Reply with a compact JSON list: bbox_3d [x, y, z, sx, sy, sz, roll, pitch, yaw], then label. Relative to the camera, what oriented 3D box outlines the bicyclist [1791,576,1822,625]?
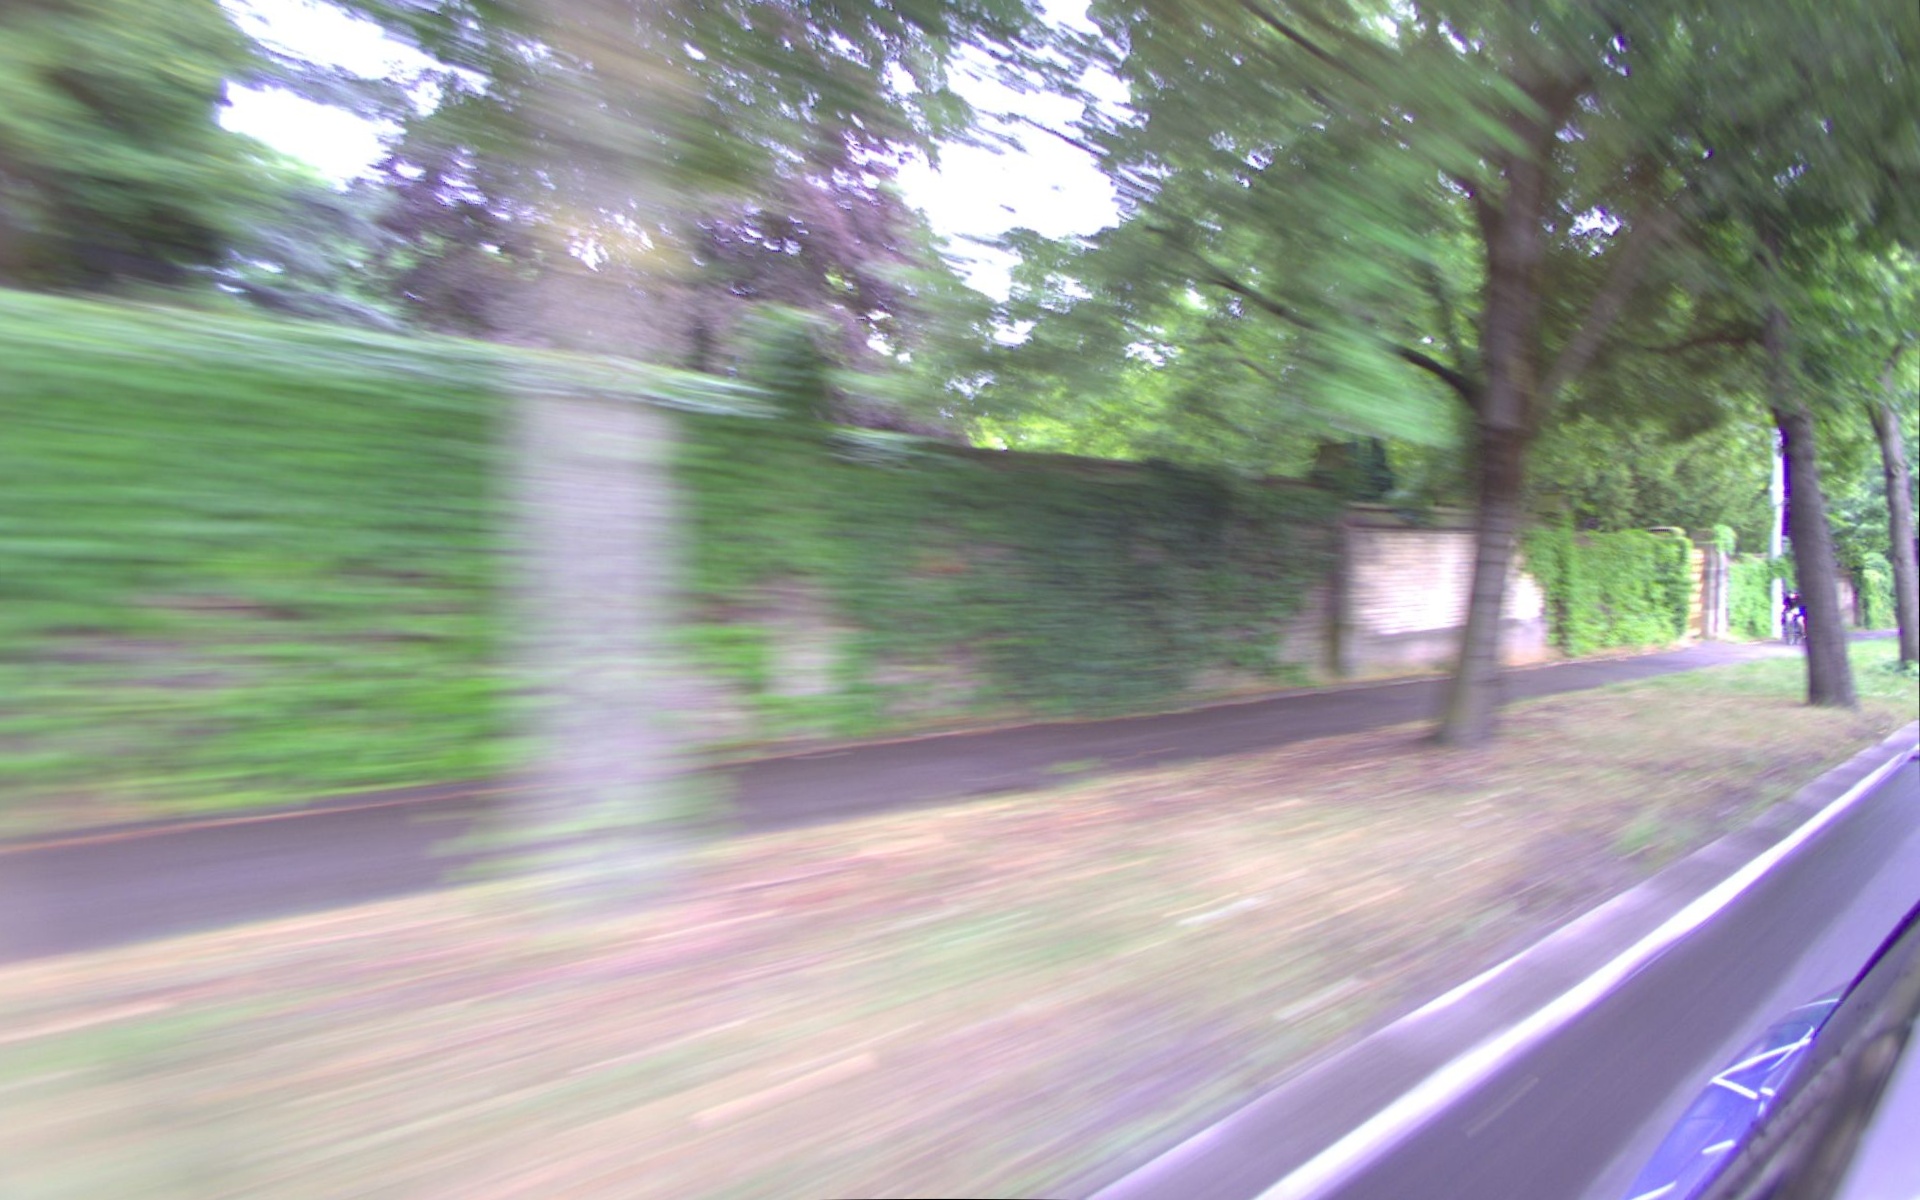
[{"bbox_3d":[24.664,0.004,29.473,0.654,1.406,0.536,0,2,-38],"label":"bicyclist"}]

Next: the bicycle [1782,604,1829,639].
[{"bbox_3d":[24.696,0.615,29.548,2.503,0.960,0.544,0,2,-38],"label":"bicycle"}]
